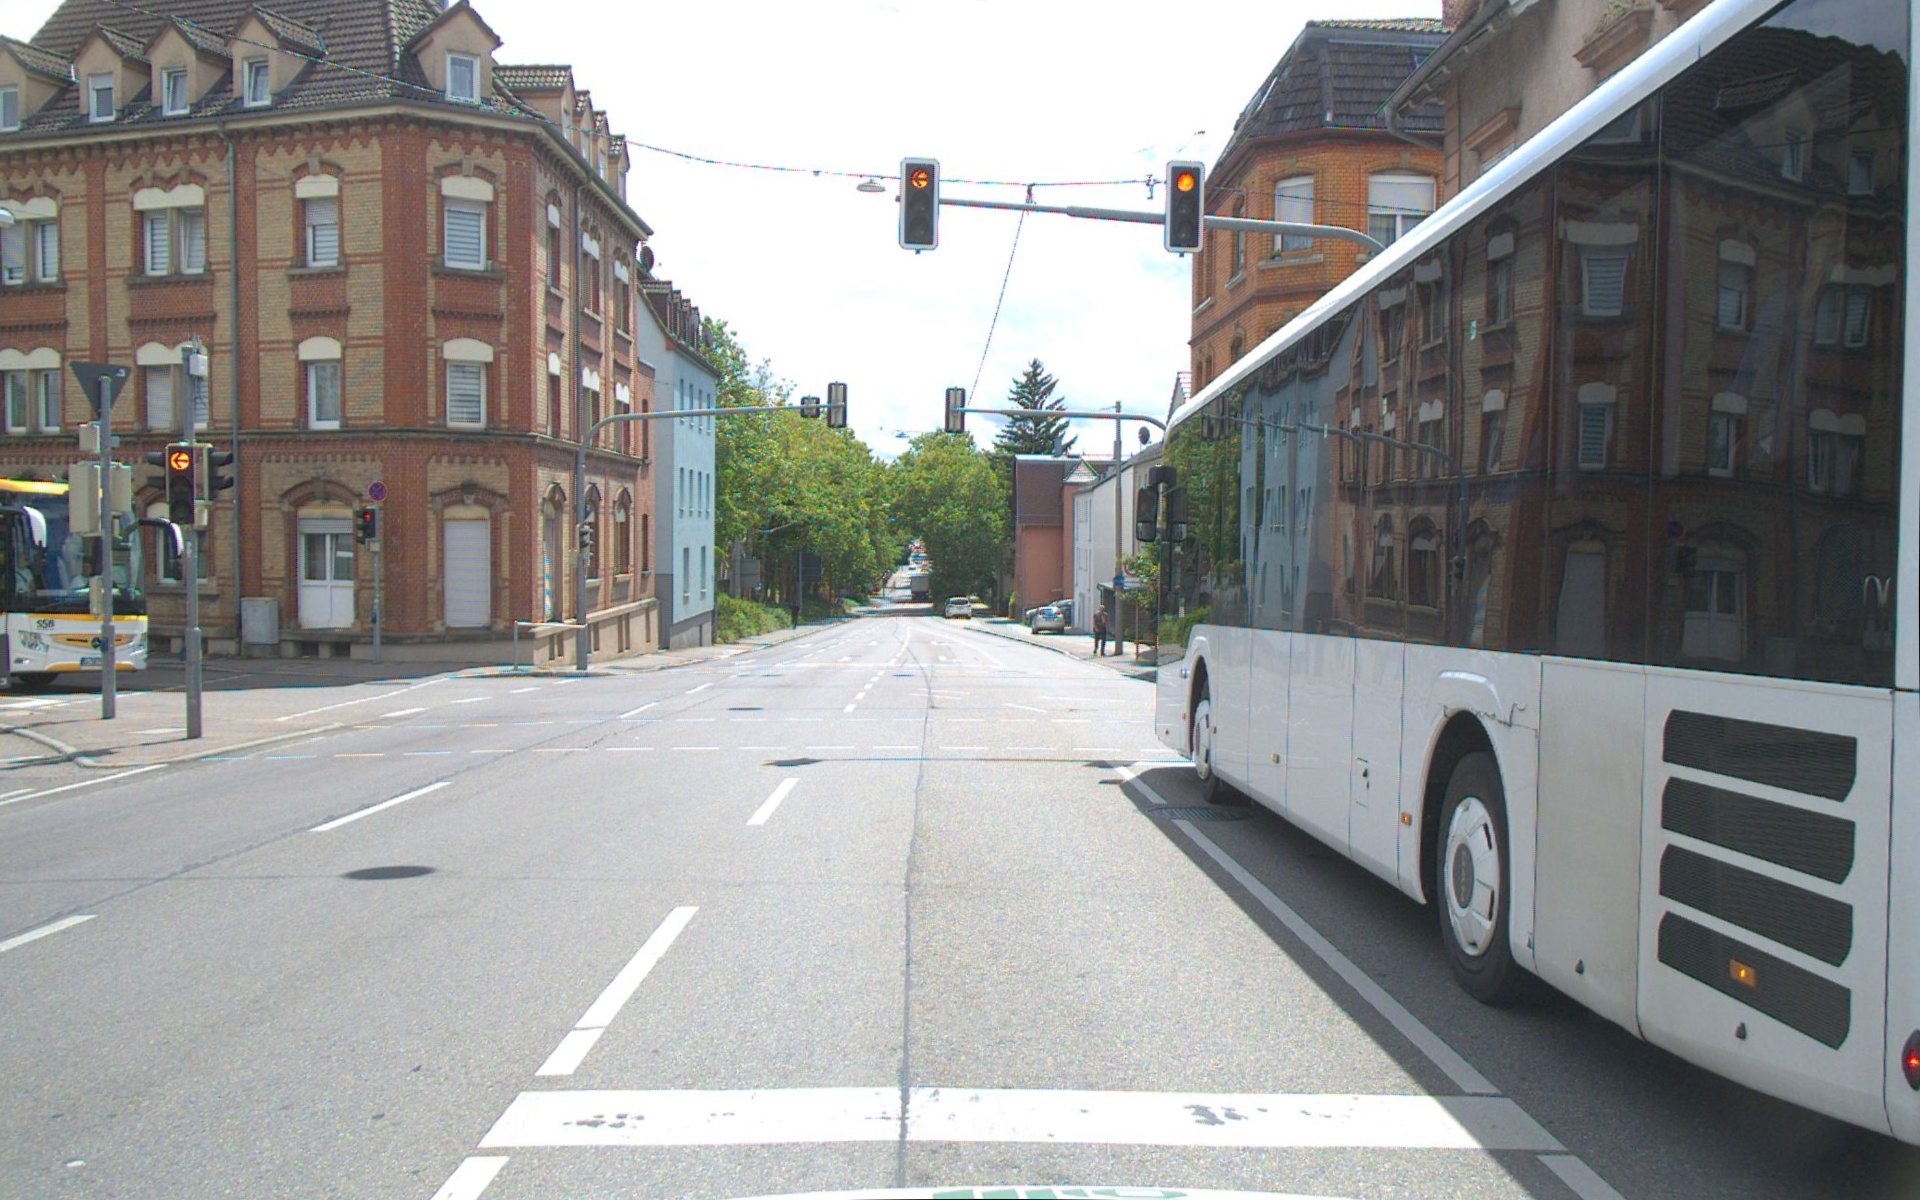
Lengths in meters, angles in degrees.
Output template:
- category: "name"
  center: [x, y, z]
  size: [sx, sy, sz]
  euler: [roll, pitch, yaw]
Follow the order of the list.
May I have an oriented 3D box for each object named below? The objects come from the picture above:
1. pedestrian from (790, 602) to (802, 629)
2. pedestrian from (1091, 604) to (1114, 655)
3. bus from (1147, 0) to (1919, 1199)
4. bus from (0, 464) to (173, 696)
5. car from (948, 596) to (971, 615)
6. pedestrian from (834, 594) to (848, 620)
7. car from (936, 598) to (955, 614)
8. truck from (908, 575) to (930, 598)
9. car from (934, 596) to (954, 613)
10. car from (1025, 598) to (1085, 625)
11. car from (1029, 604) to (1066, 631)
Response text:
- category: "pedestrian"
  center: [-9.626, 0.904, 97.069]
  size: [0.714, 1.592, 0.560]
  euler: [0, 0, -2]
- category: "pedestrian"
  center: [5.051, 1.033, 58.634]
  size: [0.723, 1.781, 0.619]
  euler: [-1, 0, -1]
- category: "bus"
  center: [3.144, -0.148, 9.315]
  size: [2.618, 3.211, 12.459]
  euler: [0, 0, -1]
- category: "bus"
  center: [-19.771, -0.360, 30.054]
  size: [11.979, 3.685, 2.770]
  euler: [0, 0, 24]
- category: "car"
  center: [-0.059, 0.467, 129.207]
  size: [1.757, 1.434, 3.999]
  euler: [1, 0, 0]
- category: "pedestrian"
  center: [-9.289, 0.541, 129.278]
  size: [0.974, 2.049, 1.188]
  euler: [0, 0, -1]
- category: "car"
  center: [-1.330, 0.527, 153.900]
  size: [1.757, 1.434, 4.418]
  euler: [1, 0, 0]
- category: "truck"
  center: [-5.769, -1.892, 232.580]
  size: [2.868, 3.135, 7.881]
  euler: [-1, 0, -3]
- category: "car"
  center: [-1.399, 0.418, 146.467]
  size: [1.757, 1.434, 4.418]
  euler: [1, 0, 0]
- category: "car"
  center: [6.490, 0.789, 113.252]
  size: [3.909, 1.788, 1.998]
  euler: [-1, 0, -6]
- category: "car"
  center: [4.915, 0.954, 93.127]
  size: [1.758, 1.434, 3.999]
  euler: [-1, 1, -2]
